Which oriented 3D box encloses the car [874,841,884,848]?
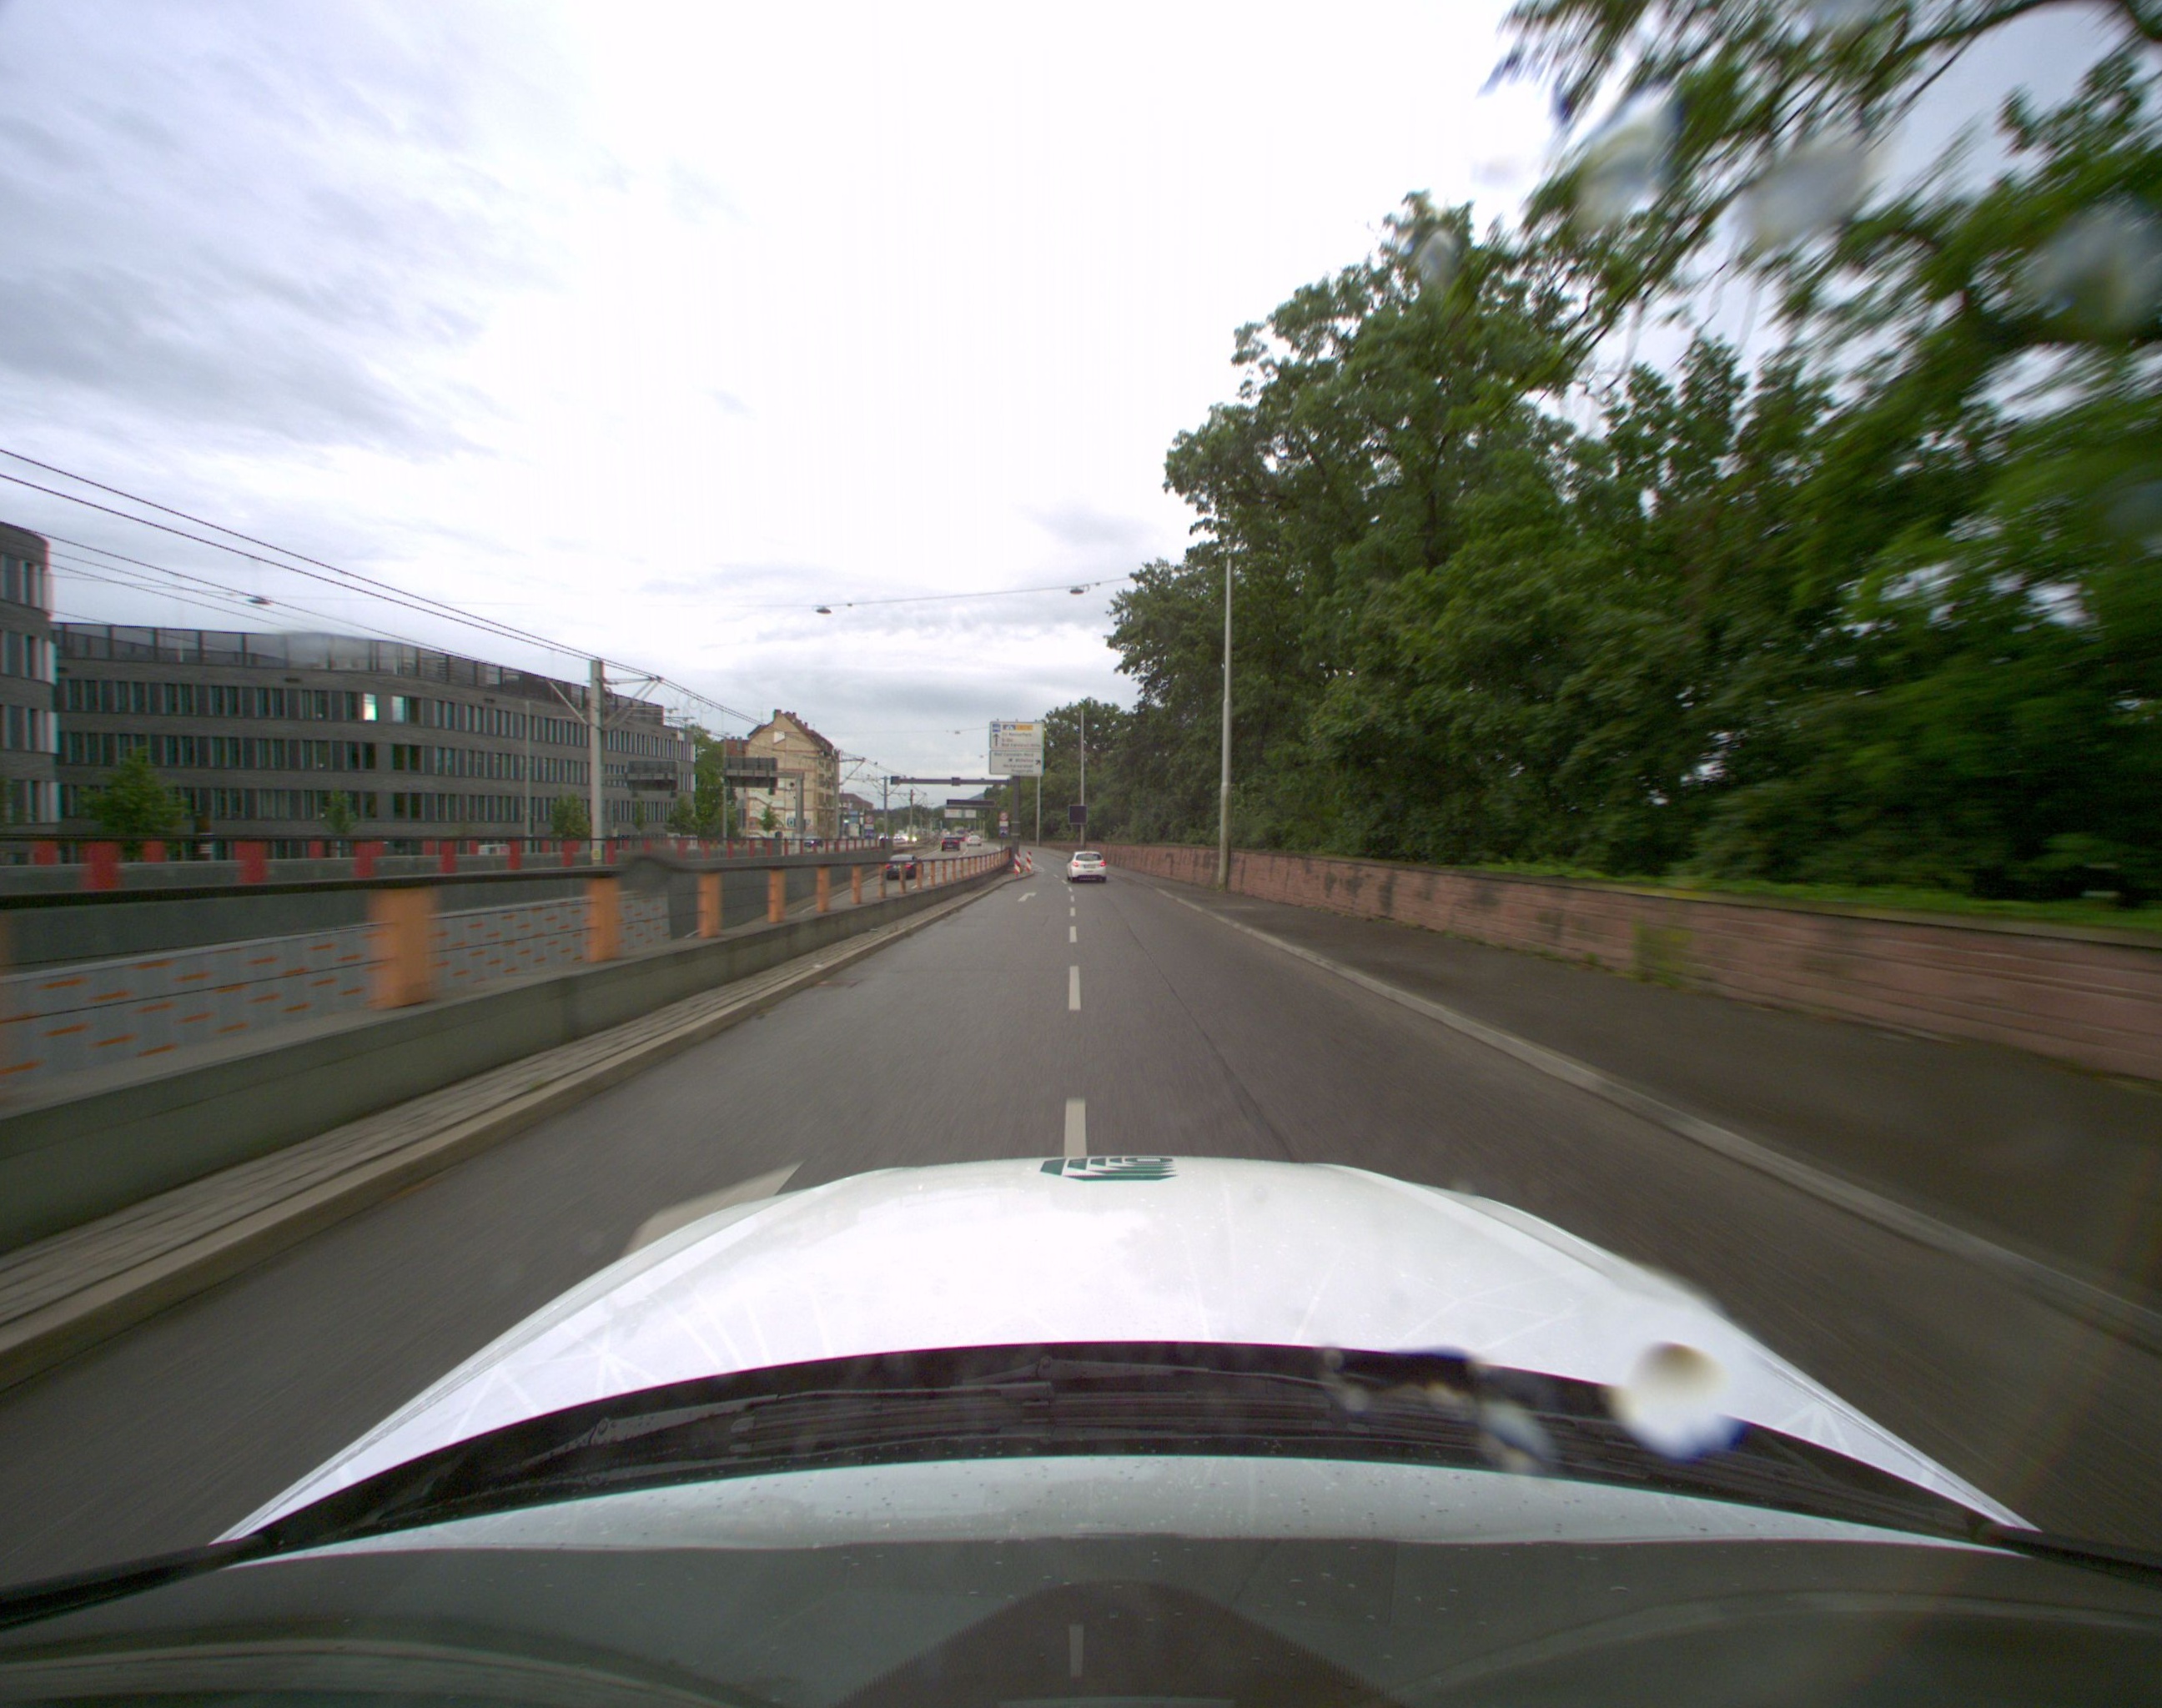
[{"bbox_3d":[-47.122,-2.267,189.904,1.823,1.585,3.823,0,1,-7],"label":"car"}]

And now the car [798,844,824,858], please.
[{"bbox_3d":[-32.575,-0.382,98.394,1.818,1.585,3.833,0,1,1],"label":"car"}]

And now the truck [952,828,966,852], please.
[{"bbox_3d":[-32.921,-3.711,219.729,3.462,5.402,12.015,1,-3,-8],"label":"truck"}]

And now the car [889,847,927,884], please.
[{"bbox_3d":[-10.220,0.658,48.316,1.718,1.890,3.531,0,4,-4],"label":"car"}]

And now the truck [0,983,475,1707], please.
[{"bbox_3d":[-6.603,3.290,3.610,2.755,4.196,6.780,-1,1,-2],"label":"truck"}]

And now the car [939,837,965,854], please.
[{"bbox_3d":[-12.770,-0.842,80.620,1.988,1.576,3.998,-1,-1,-1],"label":"car"}]

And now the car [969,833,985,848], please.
[{"bbox_3d":[-14.402,-1.831,112.915,2.080,1.872,4.084,-1,-1,-8],"label":"car"}]

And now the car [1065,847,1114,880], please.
[{"bbox_3d":[0.361,0.508,39.920,1.953,1.488,3.990,0,-3,-6],"label":"car"}]

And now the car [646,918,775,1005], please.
[{"bbox_3d":[-10.424,2.967,23.282,1.816,1.565,4.090,-2,4,-2],"label":"car"}]
